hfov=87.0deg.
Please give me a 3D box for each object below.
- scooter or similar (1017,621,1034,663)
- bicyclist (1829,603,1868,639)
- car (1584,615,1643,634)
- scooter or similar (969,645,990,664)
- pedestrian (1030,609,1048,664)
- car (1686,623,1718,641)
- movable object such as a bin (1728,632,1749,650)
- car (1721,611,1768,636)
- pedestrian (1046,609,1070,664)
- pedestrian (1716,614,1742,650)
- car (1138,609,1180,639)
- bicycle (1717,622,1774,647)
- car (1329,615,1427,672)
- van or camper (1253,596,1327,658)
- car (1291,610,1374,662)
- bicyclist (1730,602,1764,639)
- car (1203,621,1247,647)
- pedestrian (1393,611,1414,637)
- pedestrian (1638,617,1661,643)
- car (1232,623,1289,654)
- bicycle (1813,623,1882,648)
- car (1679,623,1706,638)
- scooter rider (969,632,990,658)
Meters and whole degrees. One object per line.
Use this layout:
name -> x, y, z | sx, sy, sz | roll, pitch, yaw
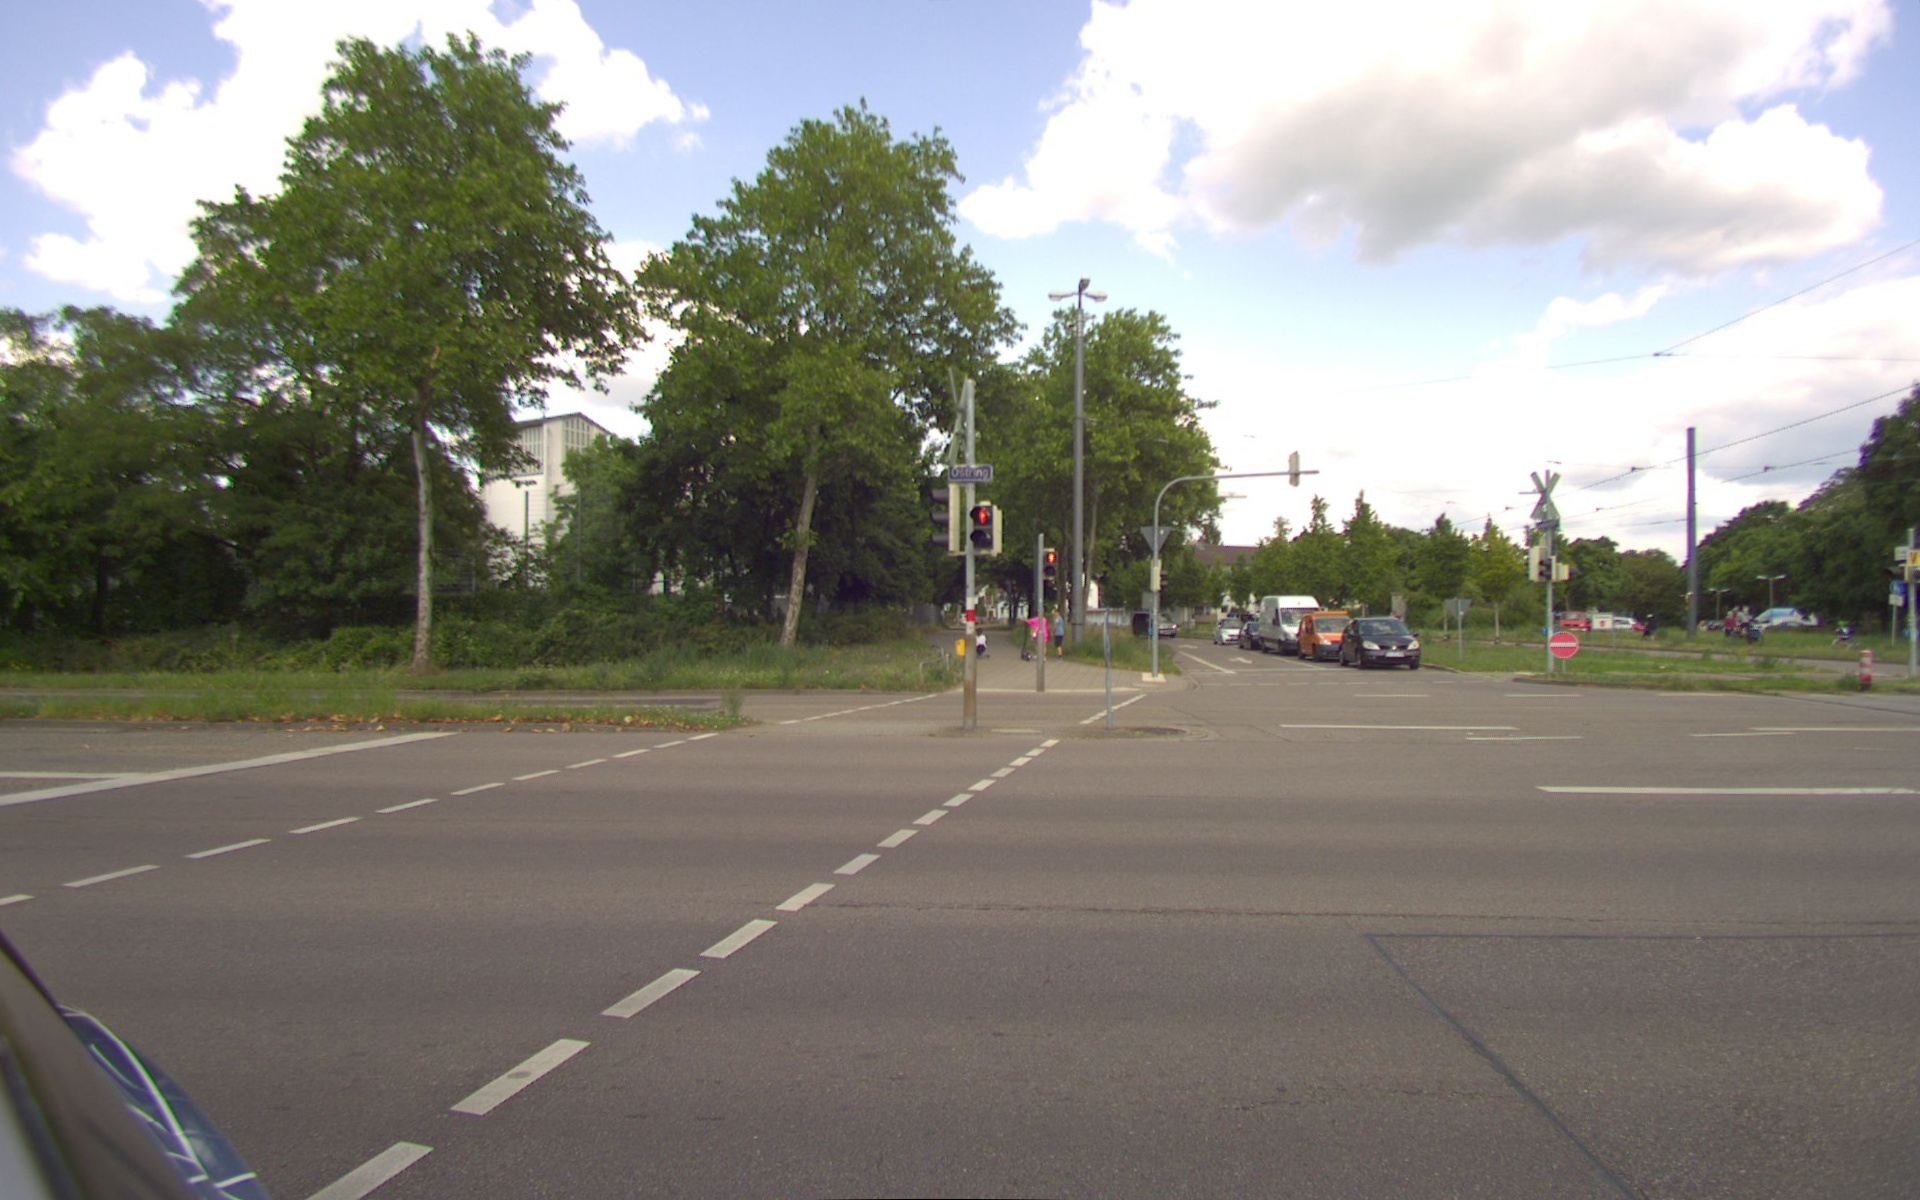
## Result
scooter or similar -> 1.988, 1.272, 30.655 | 0.319, 1.241, 0.772 | -3, -2, 16
bicyclist -> 37.903, 0.899, 43.178 | 0.947, 1.500, 0.838 | 0, -1, -17
car -> 54.192, 2.015, 84.024 | 3.986, 1.541, 1.979 | -1, -2, 31
scooter or similar -> 0.607, 1.640, 30.682 | 0.603, 0.515, 0.857 | -2, -2, 2
pedestrian -> 2.388, 1.103, 30.456 | 0.417, 1.631, 0.593 | -1, -1, 14
car -> 71.329, 3.025, 97.292 | 1.992, 1.652, 4.345 | -1, -2, 30
movable object such as a bin -> 35.934, 1.886, 46.711 | 0.570, 0.817, 0.460 | -2, -2, -9
car -> 54.723, 1.639, 70.635 | 1.992, 1.652, 4.345 | -1, -1, 30
pedestrian -> 2.931, 1.086, 30.249 | 0.626, 1.631, 0.608 | -1, -1, 14
pedestrian -> 35.844, 1.490, 47.155 | 0.603, 1.657, 0.639 | -2, -2, -9
car -> 14.926, 1.777, 76.116 | 1.827, 2.172, 4.388 | 0, -1, -6
bicycle -> 37.304, 1.613, 48.080 | 0.936, 1.163, 1.988 | 0, -1, -12
car -> 12.913, 1.312, 31.522 | 1.715, 1.643, 4.044 | 0, -1, 6
van or camper -> 14.387, 1.180, 44.517 | 1.959, 2.544, 6.023 | 0, -2, 7
car -> 13.750, 1.325, 37.625 | 1.861, 1.813, 4.361 | 0, -1, 6
bicyclist -> 37.318, 0.956, 48.011 | 0.947, 1.735, 0.838 | 0, -1, -12
car -> 15.435, 1.977, 59.162 | 1.789, 1.442, 4.375 | 0, -1, 6
pedestrian -> 35.712, 1.946, 81.483 | 1.090, 2.029, 1.178 | 0, -1, -3
pedestrian -> 37.268, 1.614, 54.713 | 0.643, 1.364, 0.751 | -2, -2, 5
car -> 14.997, 1.878, 50.726 | 1.788, 1.442, 4.463 | 0, -1, 4
bicycle -> 37.878, 1.502, 43.239 | 0.935, 1.048, 1.990 | 0, -1, -18
car -> 82.776, 3.434, 114.369 | 1.992, 1.652, 4.345 | -1, -2, 30
scooter rider -> 0.595, 1.355, 30.681 | 0.604, 0.734, 0.858 | -2, -2, 3
